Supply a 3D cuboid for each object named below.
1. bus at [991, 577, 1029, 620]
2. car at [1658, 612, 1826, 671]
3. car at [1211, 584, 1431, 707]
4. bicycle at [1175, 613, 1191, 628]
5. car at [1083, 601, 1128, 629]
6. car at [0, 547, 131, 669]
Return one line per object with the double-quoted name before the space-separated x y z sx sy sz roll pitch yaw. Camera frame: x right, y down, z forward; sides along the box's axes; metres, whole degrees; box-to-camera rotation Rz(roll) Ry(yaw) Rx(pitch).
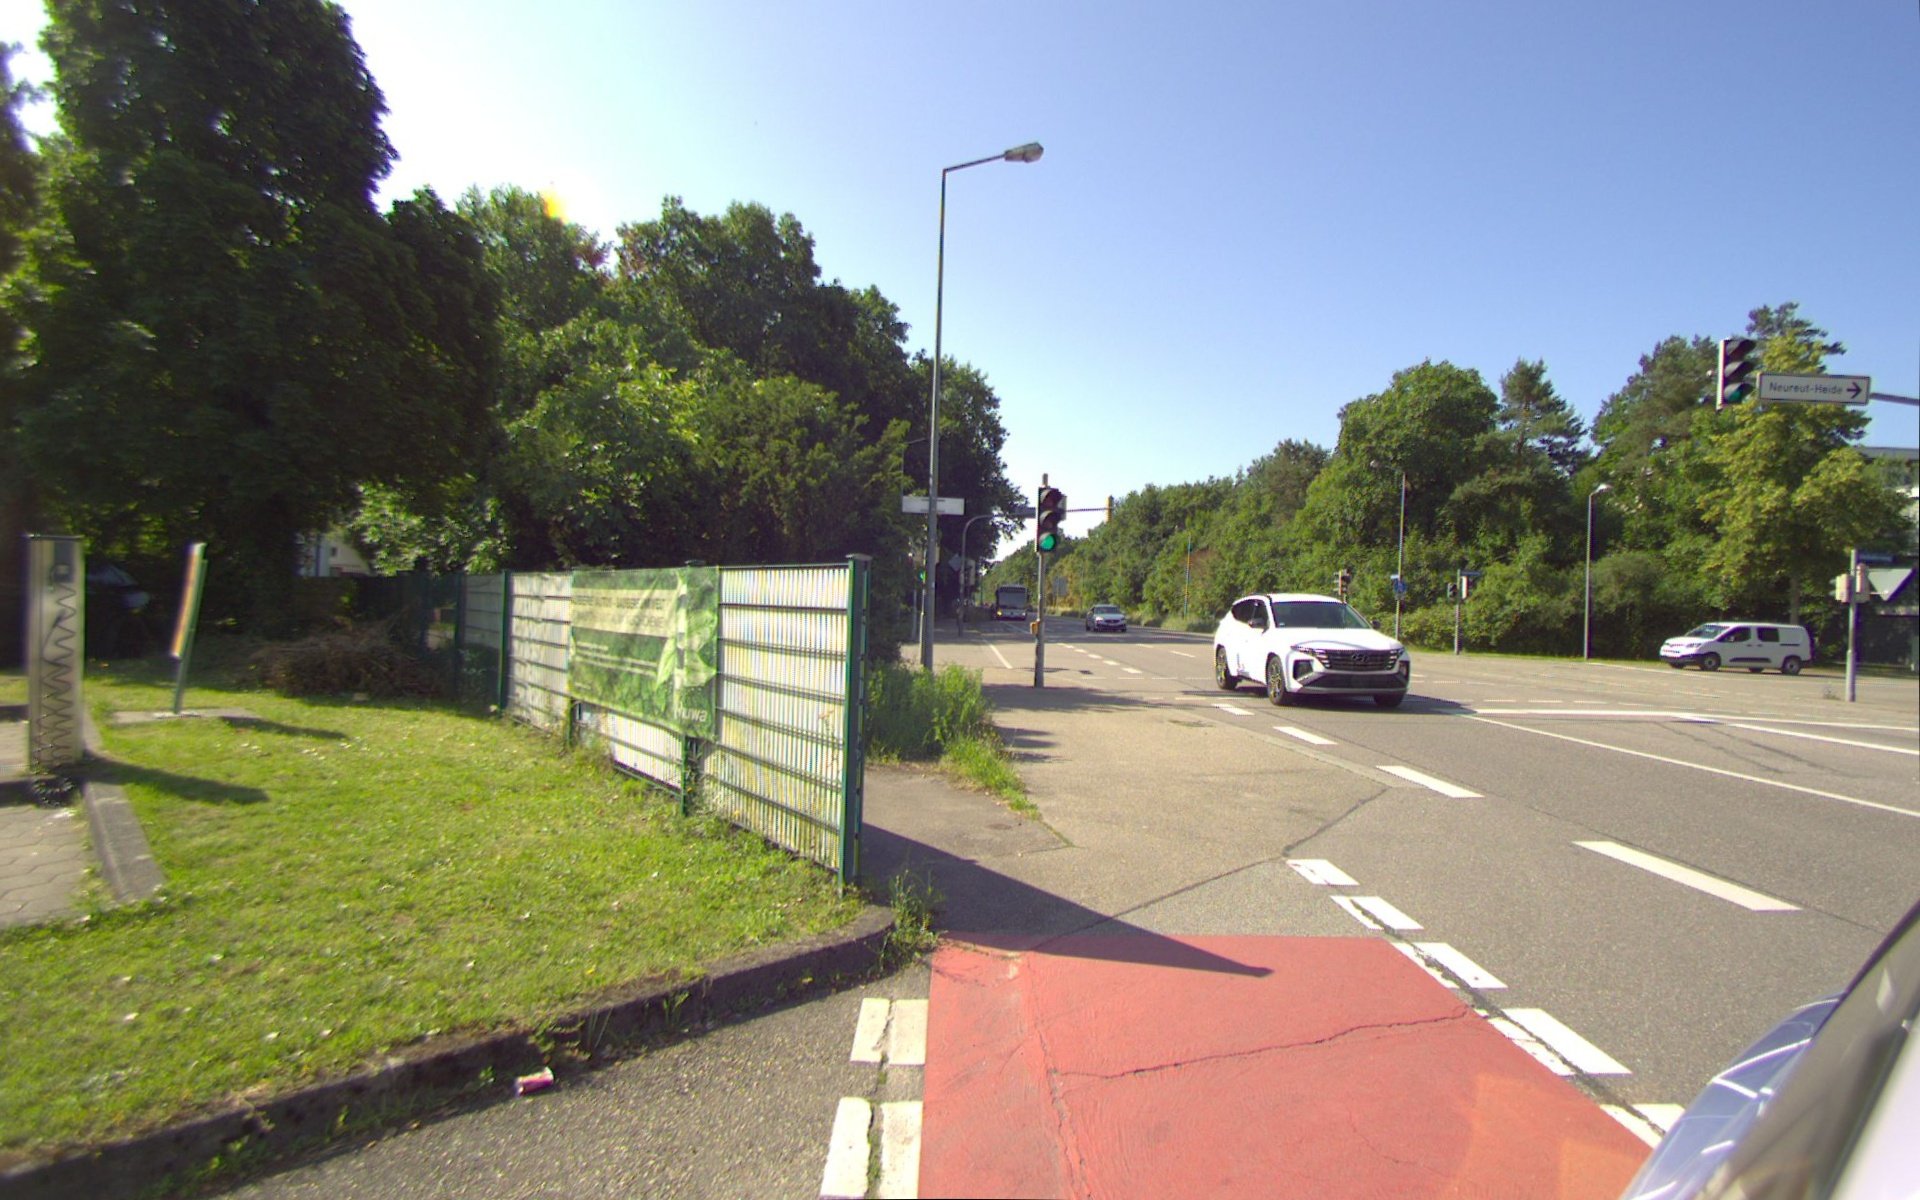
"bus" 4.227 -0.118 86.387 2.731 3.501 7.795 0 0 -1
"car" 28.289 1.481 36.708 4.574 1.800 1.852 3 0 1
"car" 5.463 0.628 15.947 1.779 1.669 4.309 0 0 -2
"bicycle" 18.704 1.716 85.000 0.721 1.178 2.373 2 0 -2
"car" 7.813 0.771 54.524 1.756 1.442 4.422 0 -1 0
"car" -12.870 0.076 12.786 1.651 1.530 3.941 2 0 -2
